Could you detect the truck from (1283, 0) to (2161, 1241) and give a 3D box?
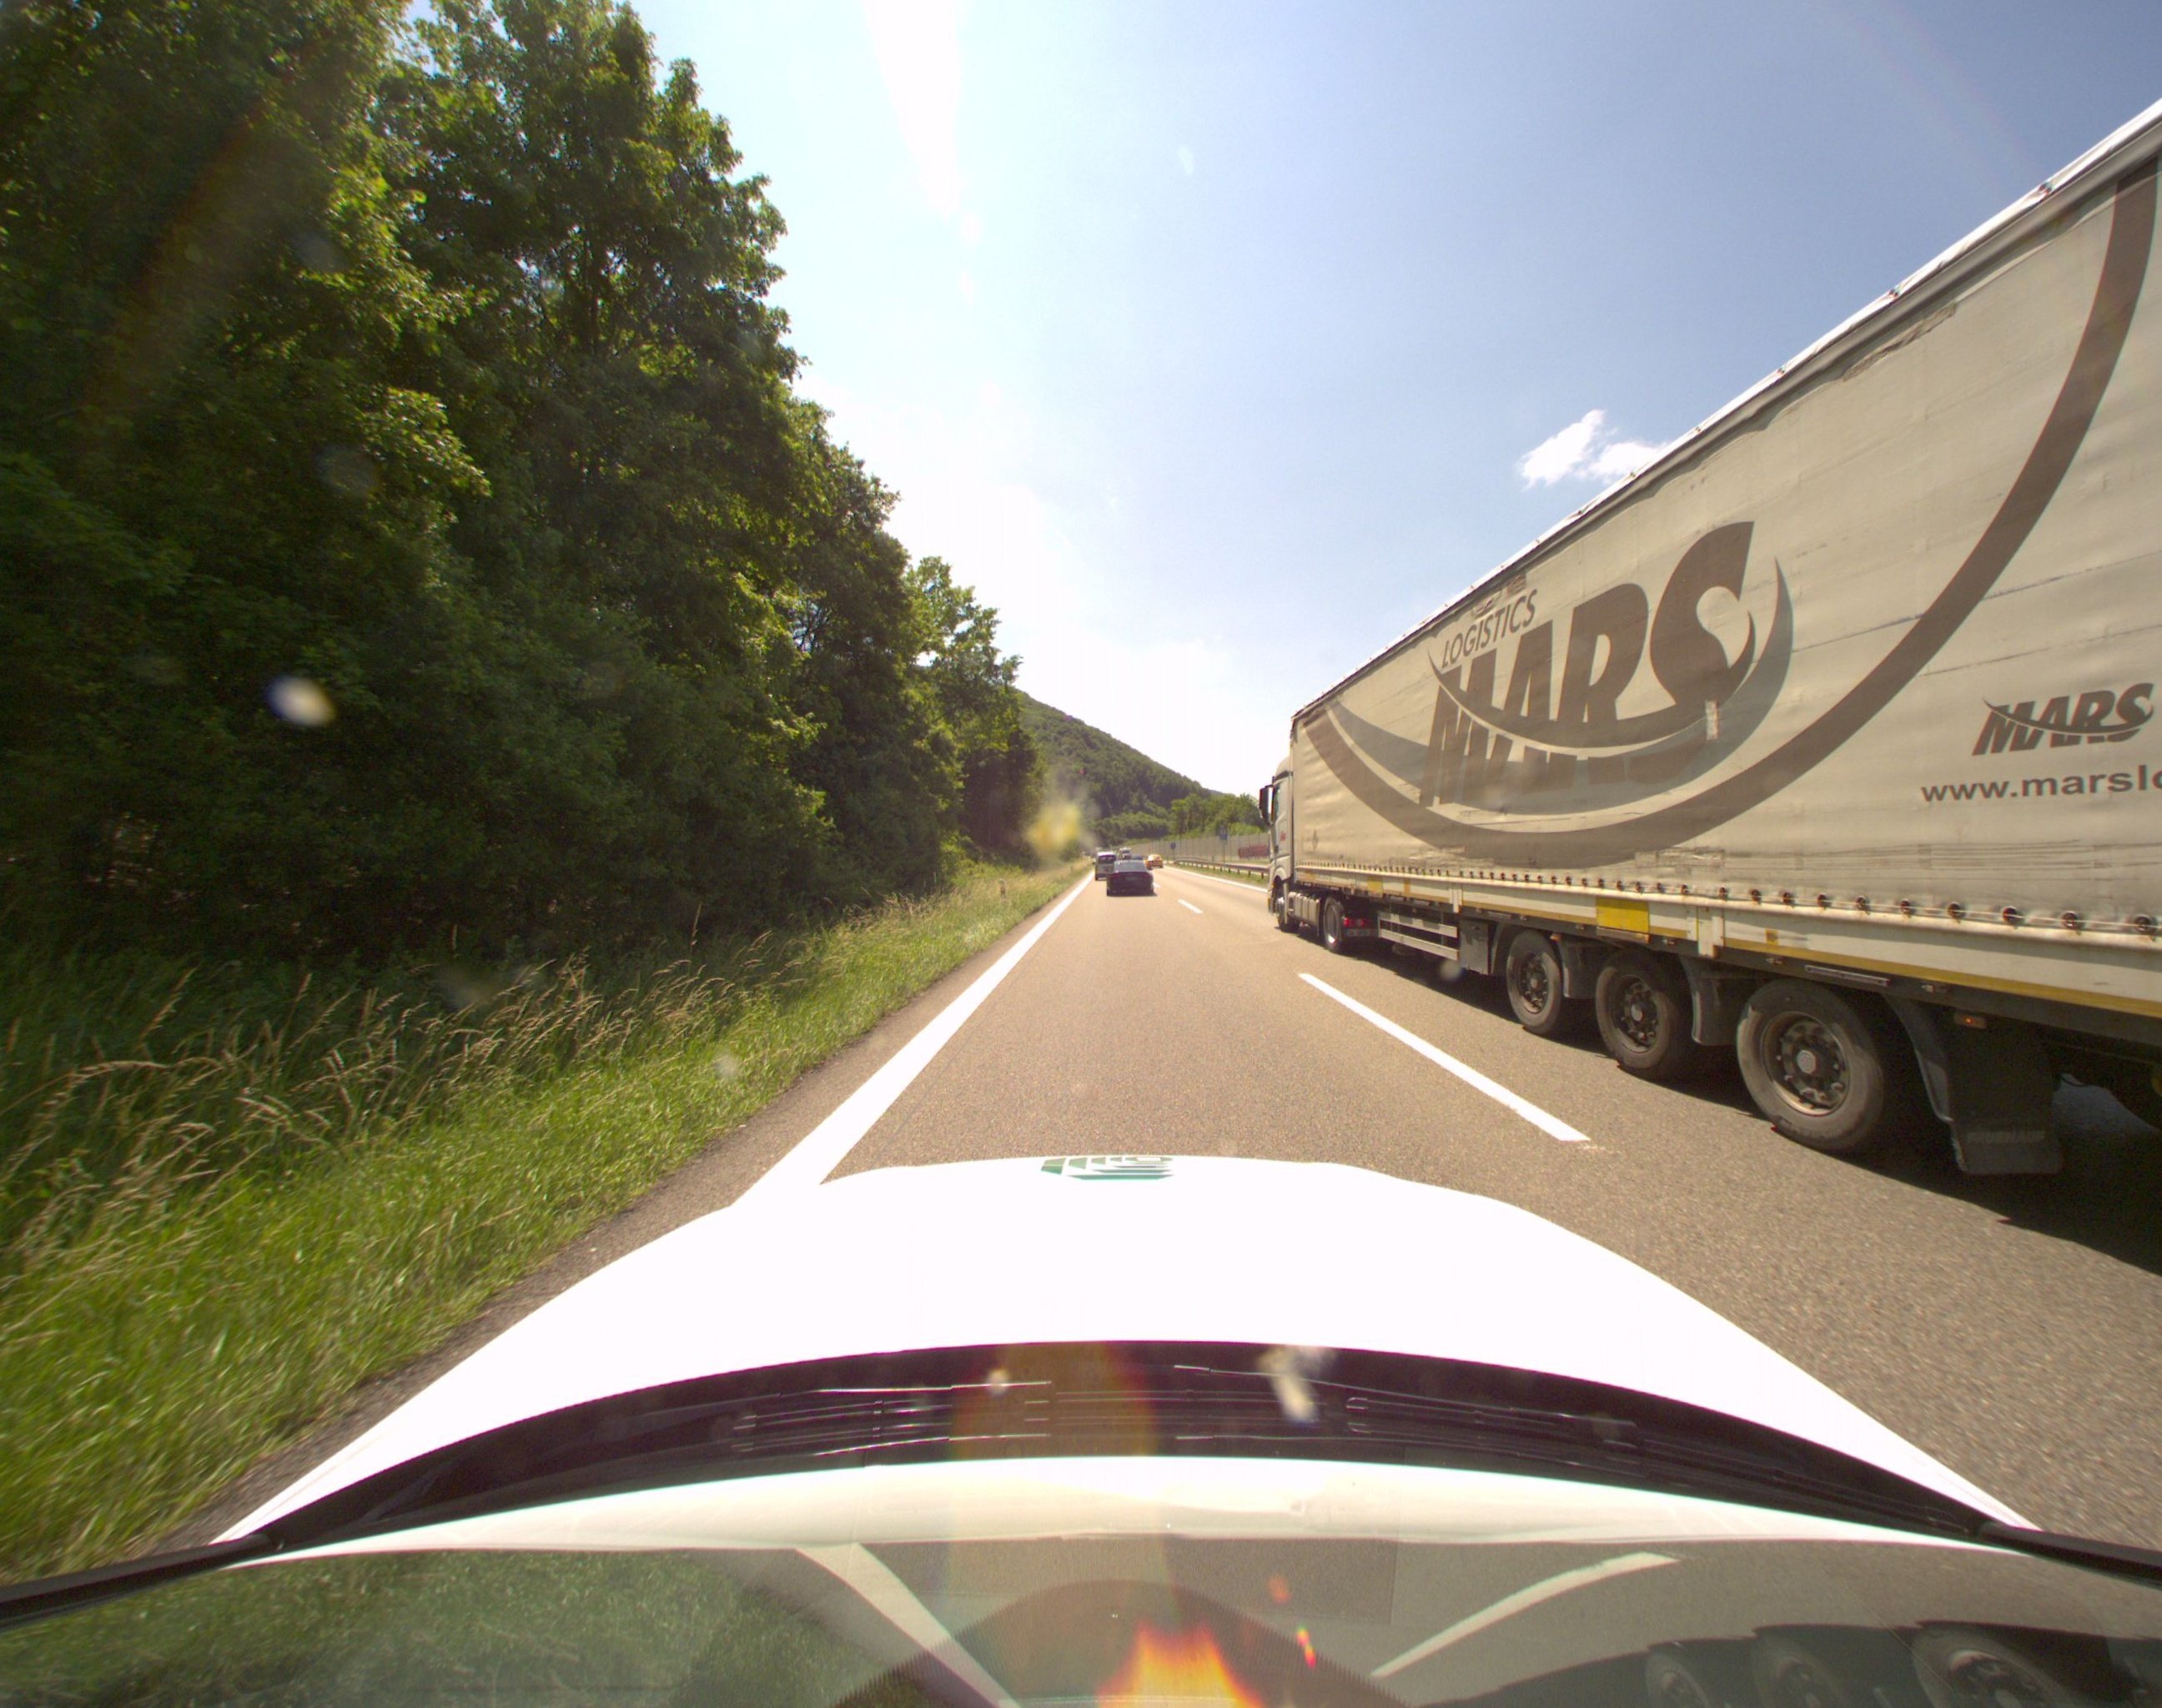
[{"bbox_3d":[4.949,-0.686,8.105,2.716,4.068,13.742,1,-1,1],"label":"truck"}]

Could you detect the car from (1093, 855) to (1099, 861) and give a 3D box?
[{"bbox_3d":[3.994,0.961,216.456,1.483,1.496,3.591,1,-1,2],"label":"car"}]

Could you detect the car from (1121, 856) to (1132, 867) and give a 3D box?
[{"bbox_3d":[8.958,1.471,159.985,2.078,2.014,4.001,1,-1,2],"label":"car"}]

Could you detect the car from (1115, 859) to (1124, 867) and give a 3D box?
[{"bbox_3d":[7.025,1.629,147.306,1.524,1.525,3.598,1,-1,2],"label":"car"}]

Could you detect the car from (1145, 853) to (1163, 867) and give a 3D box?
[{"bbox_3d":[8.074,0.643,90.181,1.871,1.499,4.002,0,0,2],"label":"car"}]

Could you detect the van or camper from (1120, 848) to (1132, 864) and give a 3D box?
[{"bbox_3d":[9.563,0.436,173.830,2.420,3.155,5.205,1,-1,2],"label":"van or camper"}]

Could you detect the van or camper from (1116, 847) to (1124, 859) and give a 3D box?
[{"bbox_3d":[12.155,-0.336,255.593,2.439,3.689,6.590,1,-1,2],"label":"van or camper"}]

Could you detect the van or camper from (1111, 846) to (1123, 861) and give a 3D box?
[{"bbox_3d":[9.736,-0.062,220.847,2.786,3.907,6.165,2,-1,0],"label":"van or camper"}]

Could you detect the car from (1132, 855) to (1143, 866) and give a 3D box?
[{"bbox_3d":[8.423,1.008,122.074,1.524,1.525,3.598,1,-1,2],"label":"car"}]

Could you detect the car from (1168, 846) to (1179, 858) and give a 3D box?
[{"bbox_3d":[16.176,-0.378,142.231,1.570,2.014,3.429,0,0,2],"label":"car"}]

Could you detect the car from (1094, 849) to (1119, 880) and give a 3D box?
[{"bbox_3d":[1.711,0.722,55.057,1.515,1.968,3.515,2,-1,1],"label":"car"}]

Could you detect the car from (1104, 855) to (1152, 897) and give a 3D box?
[{"bbox_3d":[1.886,0.862,33.343,1.805,1.514,3.516,-2,0,2],"label":"car"}]

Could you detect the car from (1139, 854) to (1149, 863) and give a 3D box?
[{"bbox_3d":[13.916,0.928,180.424,1.987,2.014,4.000,0,0,0],"label":"car"}]

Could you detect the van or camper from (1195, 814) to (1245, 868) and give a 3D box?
[{"bbox_3d":[10.603,-0.903,62.662,2.786,3.842,6.165,2,-1,0],"label":"van or camper"}]

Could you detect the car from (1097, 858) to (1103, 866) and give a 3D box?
[{"bbox_3d":[4.538,1.908,192.357,1.483,1.665,3.591,1,-1,2],"label":"car"}]

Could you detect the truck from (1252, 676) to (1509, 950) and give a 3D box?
[{"bbox_3d":[5.074,-0.569,15.010,2.709,4.068,5.755,1,-1,1],"label":"truck"}]
